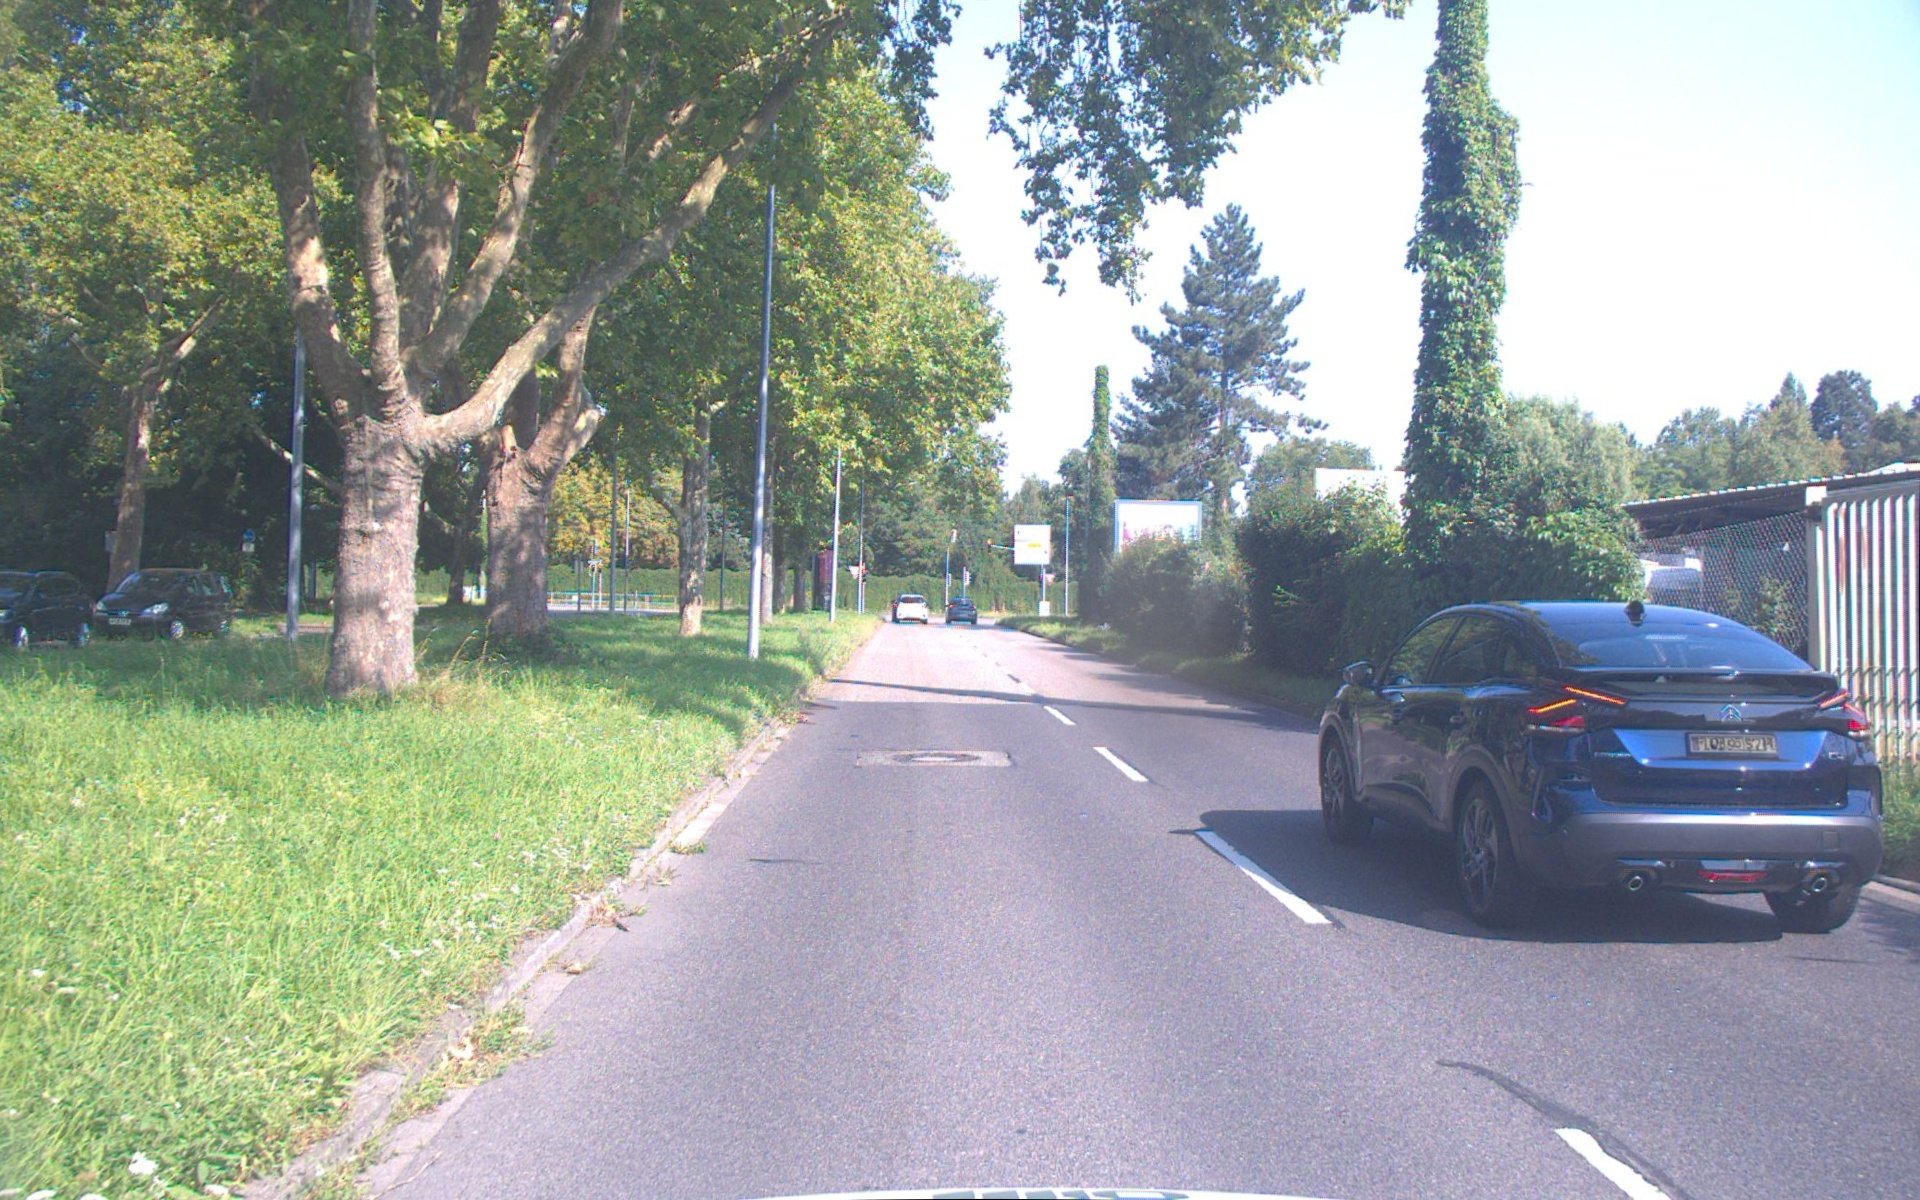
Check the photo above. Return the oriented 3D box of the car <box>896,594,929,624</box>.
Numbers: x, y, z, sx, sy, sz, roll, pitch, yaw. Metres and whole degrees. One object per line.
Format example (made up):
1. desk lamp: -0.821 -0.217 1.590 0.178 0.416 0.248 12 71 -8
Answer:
1. car: -2.513 0.474 87.525 1.653 1.487 3.999 2 0 -1

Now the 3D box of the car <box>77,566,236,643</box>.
1. car: -19.739 0.113 40.865 1.665 1.762 4.658 2 0 -1

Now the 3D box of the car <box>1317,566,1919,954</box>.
1. car: 3.237 0.684 9.078 1.611 1.616 4.254 0 0 0

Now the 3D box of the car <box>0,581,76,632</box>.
1. car: -33.992 0.209 59.621 1.661 1.757 4.390 2 0 3

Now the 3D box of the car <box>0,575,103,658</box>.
1. car: -19.247 0.304 33.578 1.665 1.595 3.999 1 0 -1

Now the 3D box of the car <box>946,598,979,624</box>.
1. car: 0.137 0.620 96.464 1.761 1.425 3.998 2 0 -2
